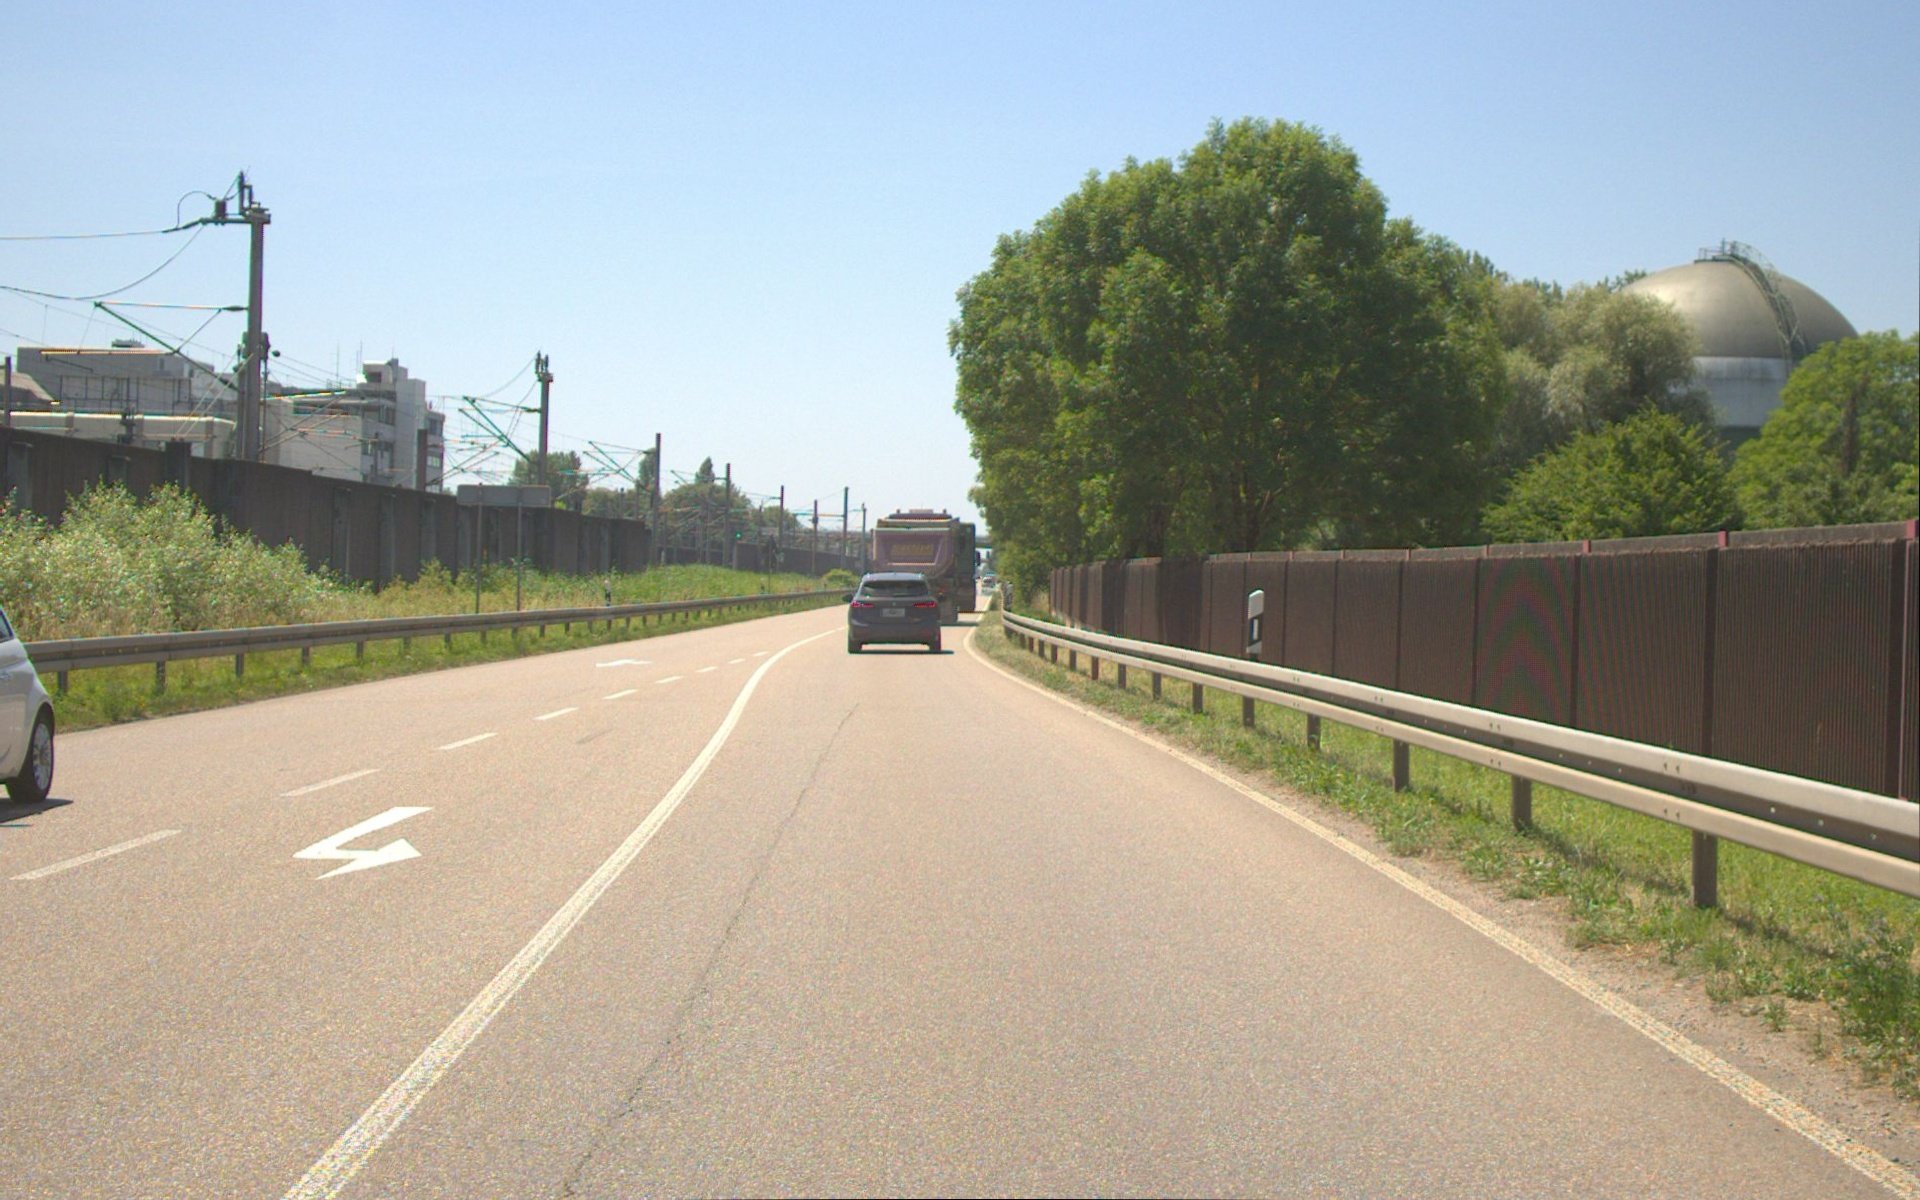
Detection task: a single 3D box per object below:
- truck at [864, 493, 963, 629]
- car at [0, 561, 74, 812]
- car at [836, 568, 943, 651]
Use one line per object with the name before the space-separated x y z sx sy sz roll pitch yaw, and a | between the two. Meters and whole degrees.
truck | -1.451 -1.176 112.089 2.996 4.166 11.807 1 0 0
car | -6.558 0.508 20.441 1.672 1.497 3.722 1 0 -1
car | -1.365 0.211 67.764 1.993 1.498 4.000 2 -1 0
